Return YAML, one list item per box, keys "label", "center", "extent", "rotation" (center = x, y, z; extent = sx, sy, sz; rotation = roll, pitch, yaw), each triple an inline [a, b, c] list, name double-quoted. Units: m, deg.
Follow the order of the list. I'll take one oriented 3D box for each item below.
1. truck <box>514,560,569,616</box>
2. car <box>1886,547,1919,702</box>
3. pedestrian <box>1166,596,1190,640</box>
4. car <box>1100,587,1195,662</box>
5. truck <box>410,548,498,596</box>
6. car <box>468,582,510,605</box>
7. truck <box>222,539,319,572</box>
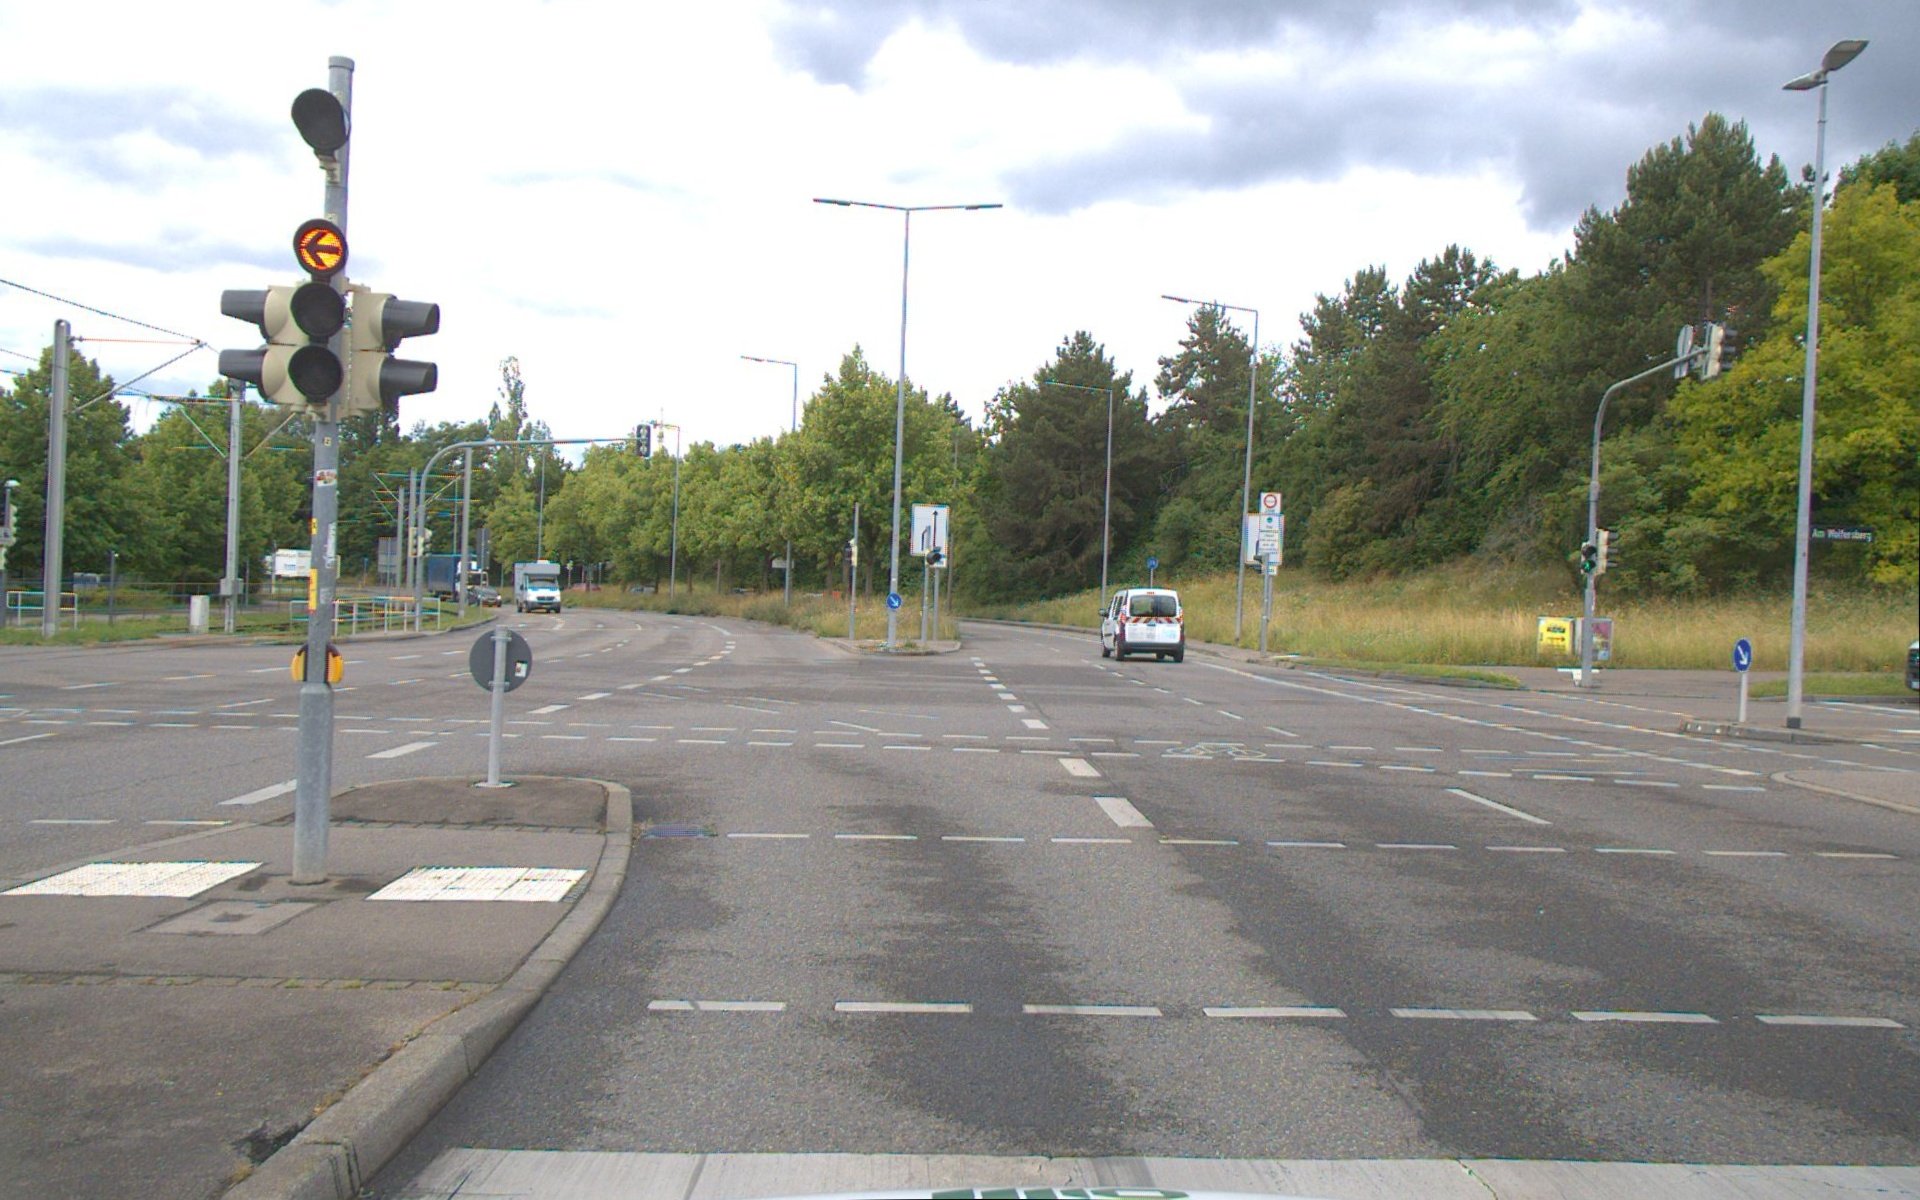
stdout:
- label: "truck"
  center: [-25.042, -0.698, 98.777]
  extent: [2.089, 3.190, 5.852]
  rotation: [1, 0, -25]
- label: "car"
  center: [20.332, 0.469, 30.096]
  extent: [5.772, 2.830, 2.135]
  rotation: [0, 0, -1]
- label: "pedestrian"
  center: [8.330, 0.691, 63.230]
  extent: [0.797, 1.656, 0.790]
  rotation: [1, 0, -1]
- label: "car"
  center: [4.827, 0.613, 43.203]
  extent: [1.953, 1.833, 4.839]
  rotation: [0, 0, 0]
- label: "truck"
  center: [-42.258, -2.266, 137.745]
  extent: [3.025, 3.826, 12.649]
  rotation: [1, 0, -36]
- label: "car"
  center: [-33.816, -0.476, 118.667]
  extent: [1.764, 1.471, 4.478]
  rotation: [-1, 3, -32]
- label: "truck"
  center: [-72.396, -4.674, 173.600]
  extent: [11.146, 3.387, 2.746]
  rotation: [1, 0, 26]
